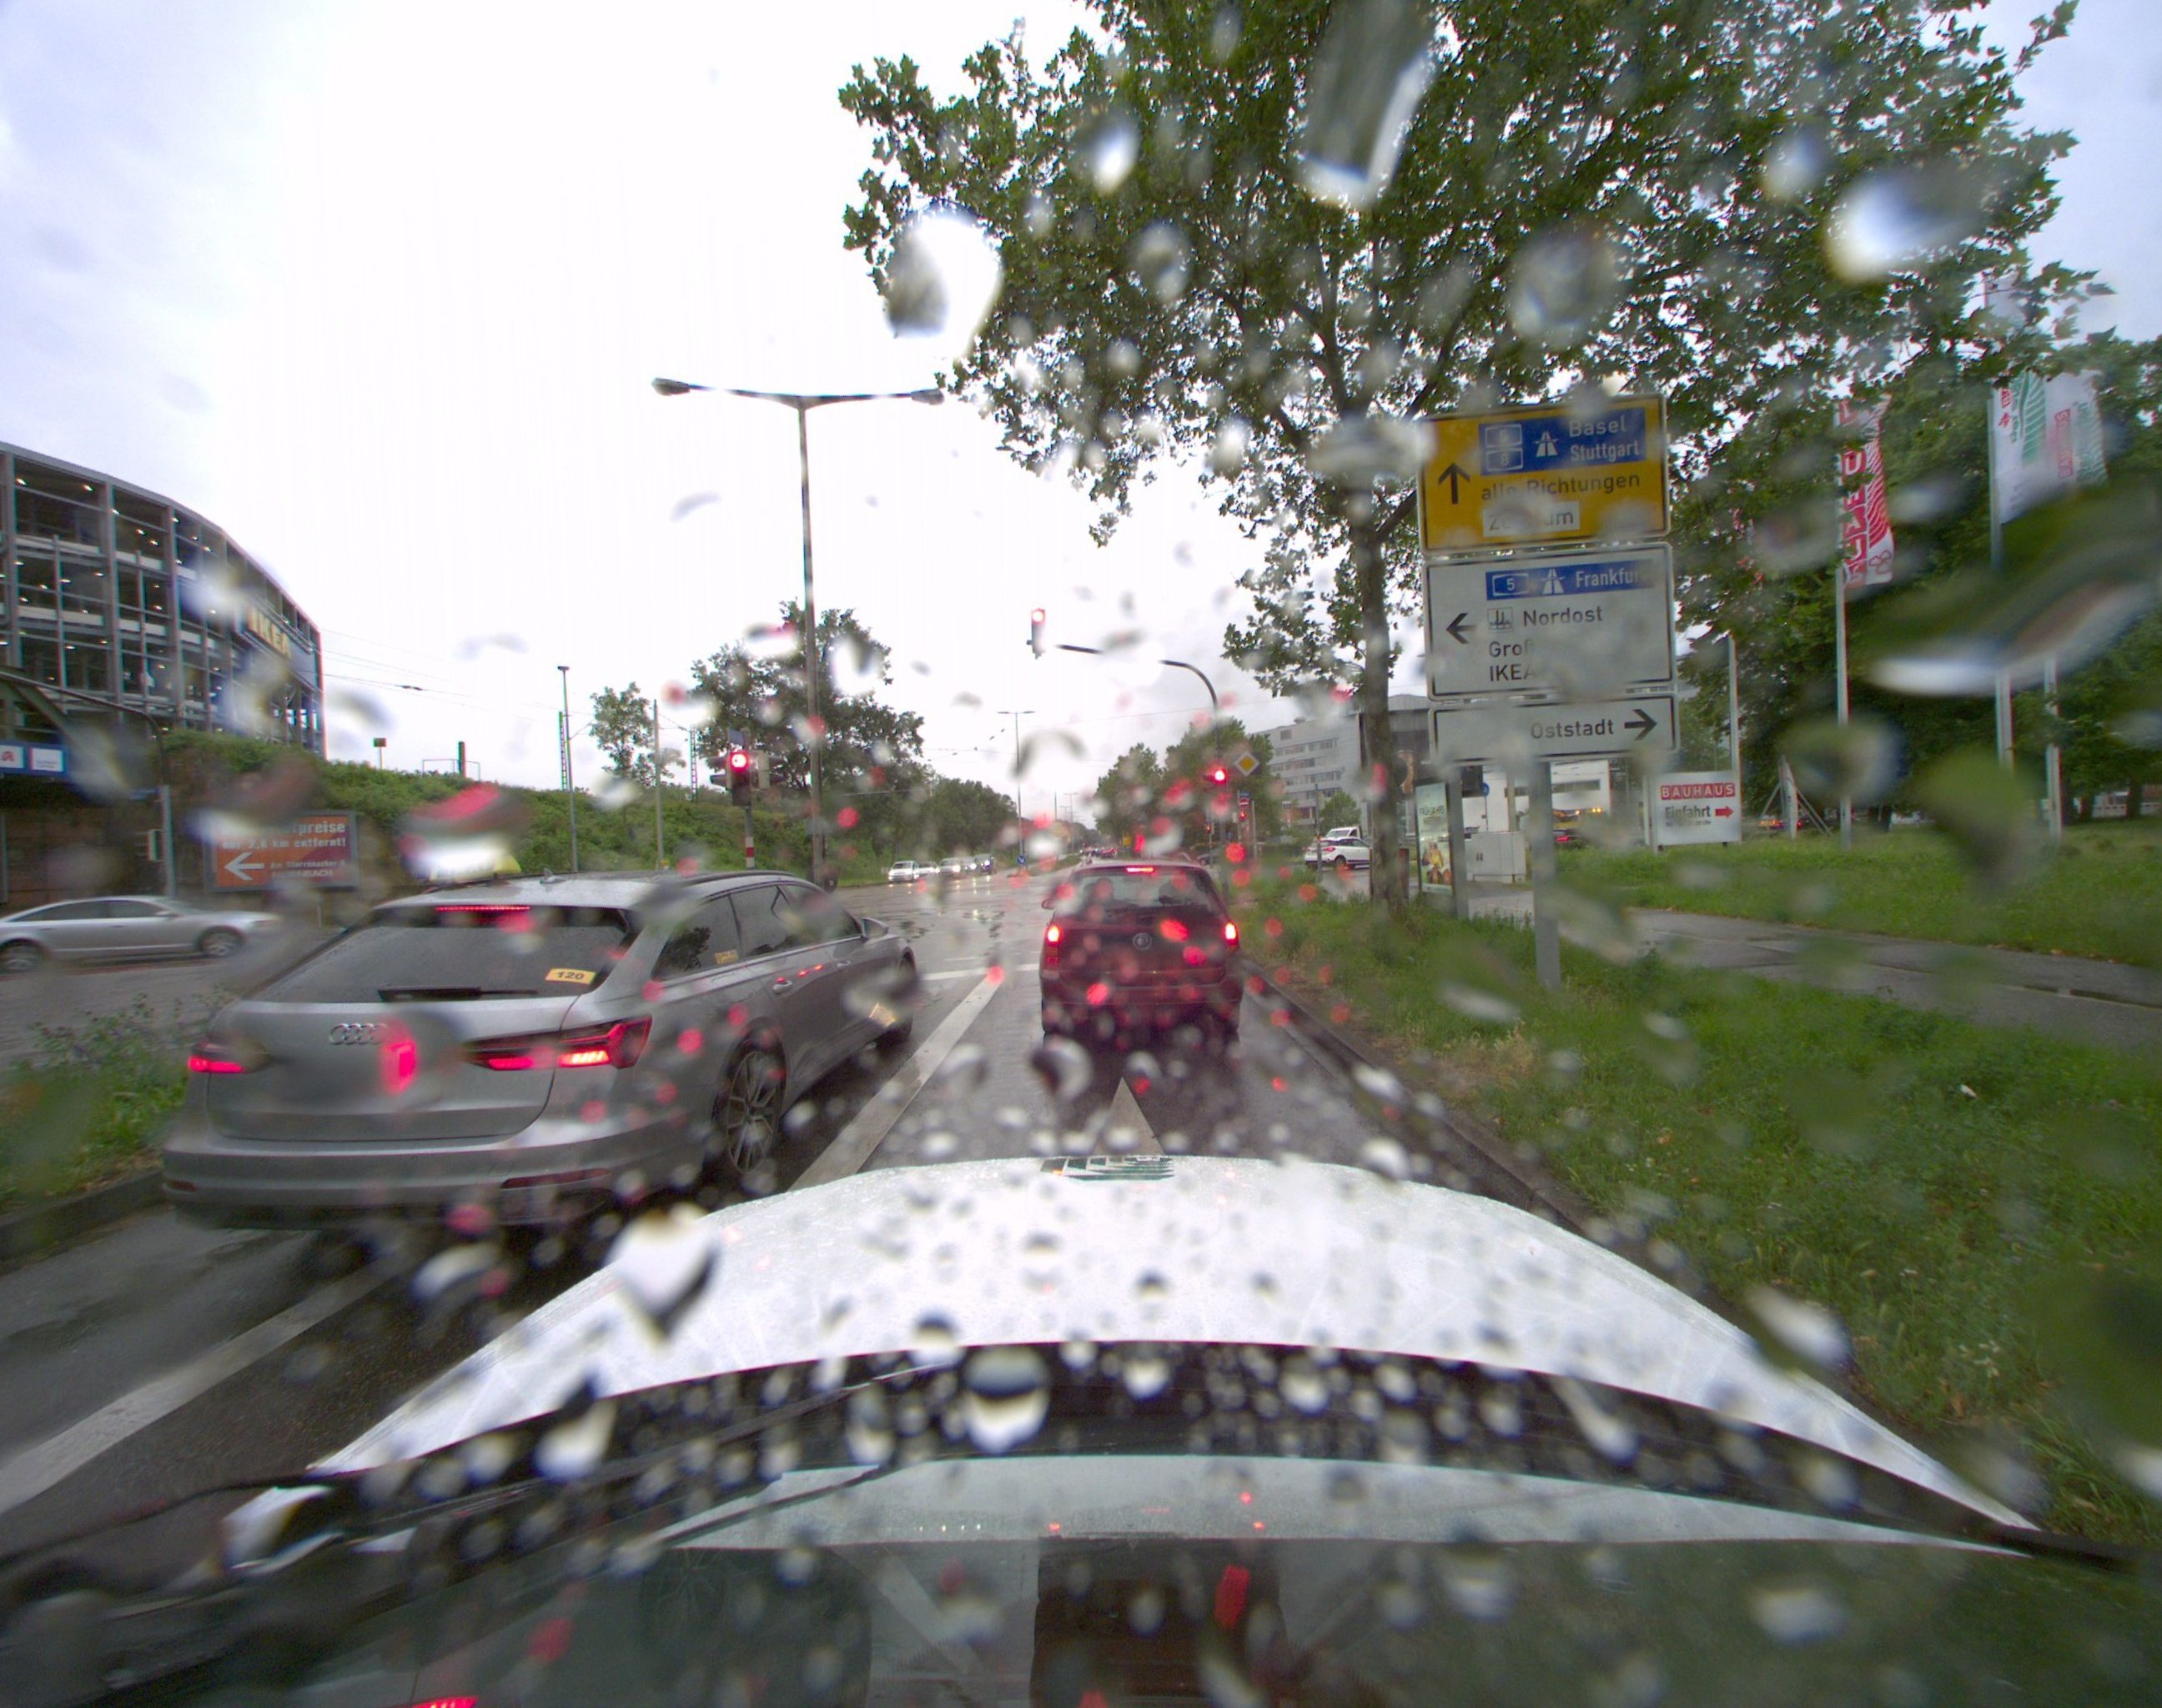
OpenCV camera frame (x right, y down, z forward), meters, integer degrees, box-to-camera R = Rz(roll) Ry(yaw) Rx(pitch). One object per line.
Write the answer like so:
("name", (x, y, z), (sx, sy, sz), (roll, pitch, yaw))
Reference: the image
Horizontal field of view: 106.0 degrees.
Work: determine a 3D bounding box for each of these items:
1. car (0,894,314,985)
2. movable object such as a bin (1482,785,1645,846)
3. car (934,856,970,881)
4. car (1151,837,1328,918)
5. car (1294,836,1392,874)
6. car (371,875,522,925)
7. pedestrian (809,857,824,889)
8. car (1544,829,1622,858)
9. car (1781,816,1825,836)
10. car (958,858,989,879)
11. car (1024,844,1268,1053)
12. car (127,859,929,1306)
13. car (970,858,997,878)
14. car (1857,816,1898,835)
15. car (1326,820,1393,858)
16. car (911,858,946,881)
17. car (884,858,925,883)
("car", (-20.648, 1.811, 17.962), (5.070, 1.533, 1.981), (-2, 0, -30))
("movable object such as a bin", (57.999, -4.367, 98.590), (8.296, 6.283, 14.818), (0, -1, -32))
("car", (-8.903, 0.970, 56.531), (1.706, 1.530, 4.002), (-3, 0, 2))
("car", (3.989, 0.507, 20.059), (4.409, 1.537, 1.781), (-5, 3, -38))
("car", (11.912, 0.016, 36.965), (4.074, 1.520, 1.981), (-2, 1, -29))
("car", (-21.895, 1.546, 28.295), (4.018, 1.429, 1.699), (-3, 0, -36))
("pedestrian", (-15.031, 1.064, 46.309), (0.528, 1.786, 0.676), (-1, -1, 19))
("car", (28.512, -0.586, 46.230), (4.398, 1.537, 1.786), (-2, 0, -28))
("car", (62.594, -2.442, 70.622), (4.405, 1.537, 1.783), (-2, 0, -34))
("car", (-8.313, 1.110, 63.297), (1.706, 1.530, 4.002), (-3, 0, 2))
("car", (0.551, 0.706, 8.248), (1.789, 1.537, 4.389), (-1, 0, 2))
("car", (-2.293, 0.785, 5.023), (1.684, 1.433, 4.576), (-2, 0, 2))
("car", (-8.491, 1.209, 71.099), (1.706, 1.530, 4.002), (-3, 0, 2))
("car", (72.452, -2.623, 74.078), (4.405, 1.537, 1.783), (-2, 0, -35))
("car", (18.570, -1.011, 54.184), (4.405, 2.190, 1.783), (-5, 1, -33))
("car", (-11.576, 1.152, 61.916), (1.706, 1.530, 4.002), (-3, 0, 2))
("car", (-11.956, 1.087, 55.382), (1.706, 1.530, 4.002), (-3, 0, 2))
